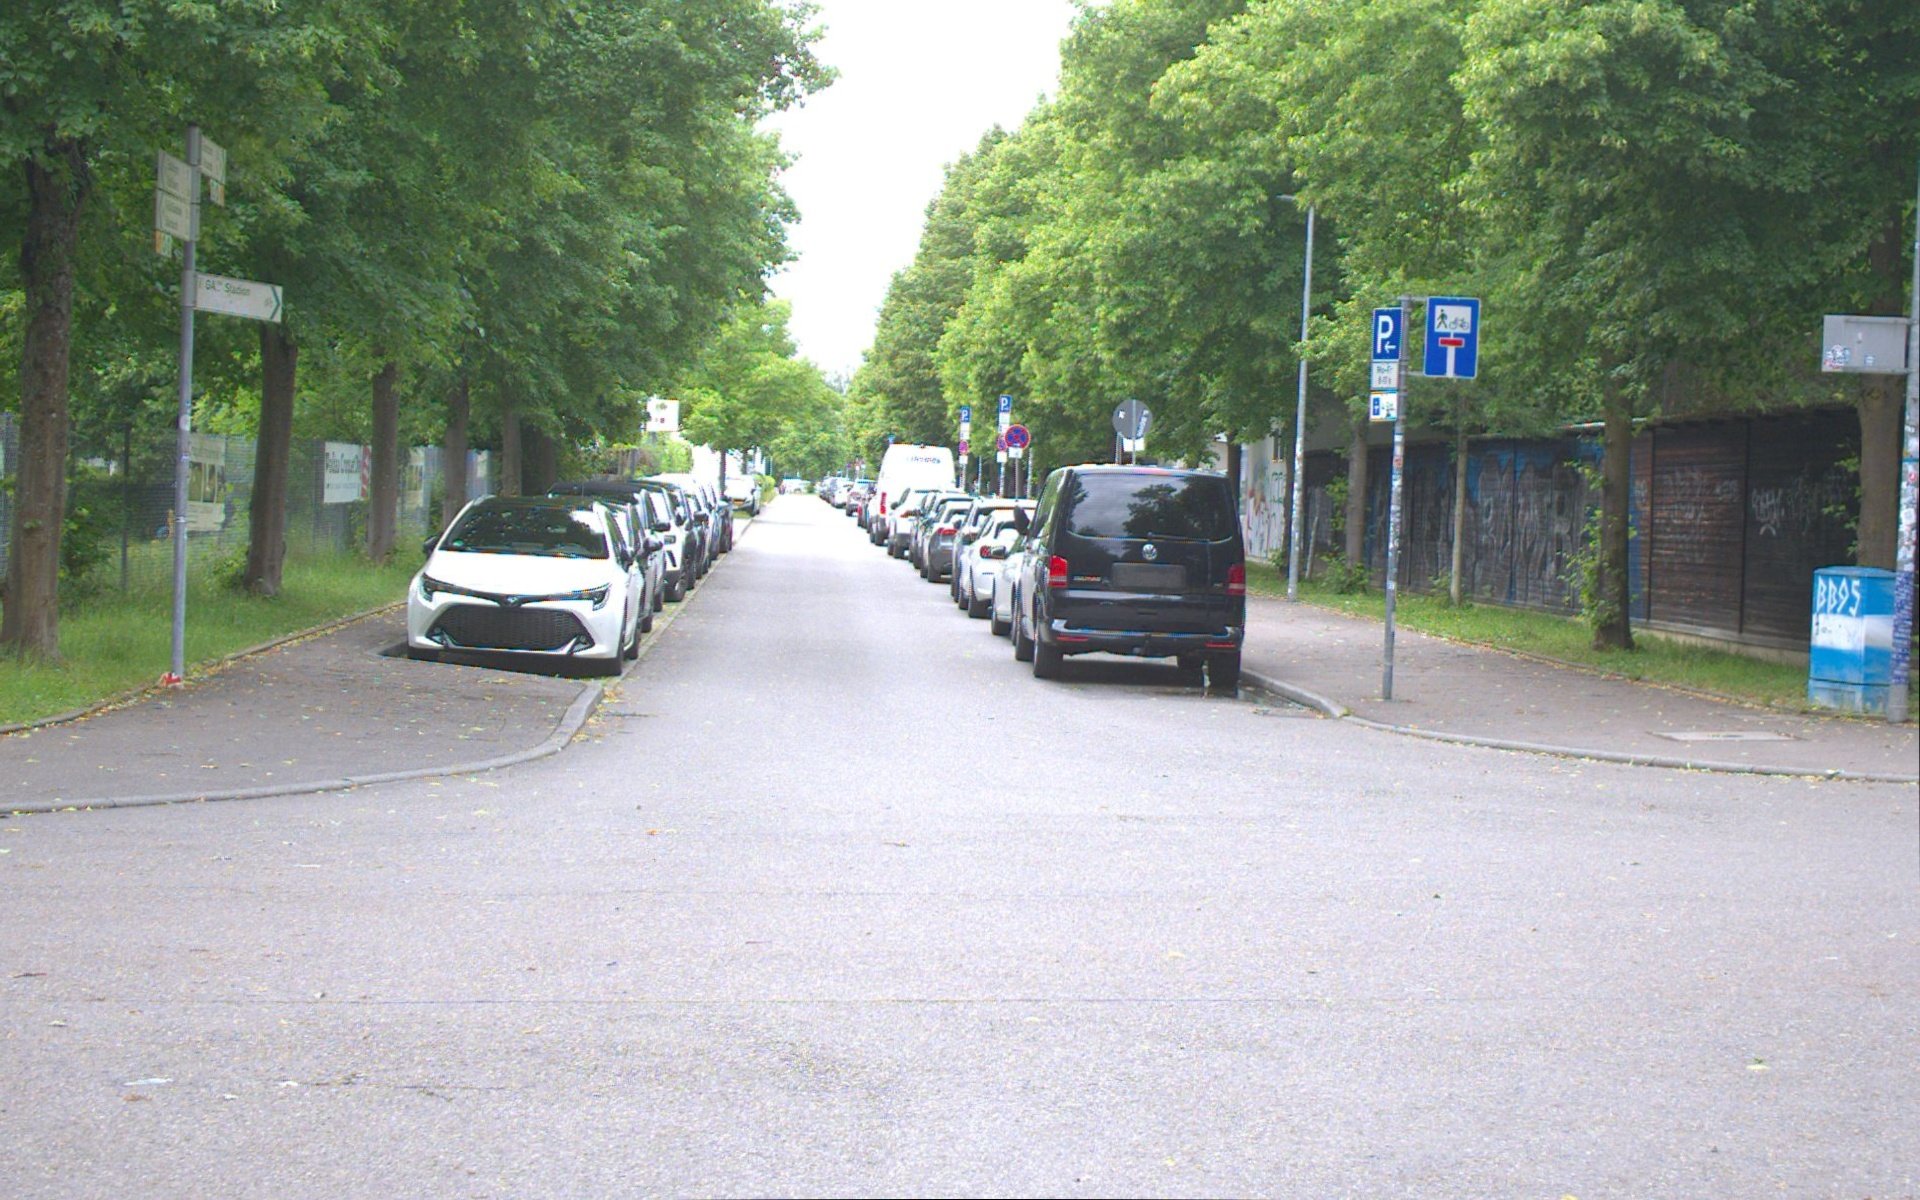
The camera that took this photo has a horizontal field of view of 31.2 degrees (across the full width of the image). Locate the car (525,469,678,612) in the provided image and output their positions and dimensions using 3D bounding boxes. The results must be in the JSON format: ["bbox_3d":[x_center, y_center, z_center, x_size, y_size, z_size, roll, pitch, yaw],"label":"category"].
[{"bbox_3d":[-4.444,-0.763,43.016,1.691,1.590,4.000,4,1,-4],"label":"car"}]

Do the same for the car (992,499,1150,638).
[{"bbox_3d":[1.220,-0.389,39.046,1.597,1.476,3.521,1,2,-1],"label":"car"}]

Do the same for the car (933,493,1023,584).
[{"bbox_3d":[0.289,-1.092,60.243,1.469,1.526,3.189,1,2,-1],"label":"car"}]

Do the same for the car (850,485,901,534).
[{"bbox_3d":[-3.673,-3.928,150.153,1.993,2.007,4.000,1,0,1],"label":"car"}]

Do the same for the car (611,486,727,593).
[{"bbox_3d":[-4.348,-0.921,51.585,1.593,1.452,3.194,4,1,-4],"label":"car"}]

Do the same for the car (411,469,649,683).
[{"bbox_3d":[-3.616,-0.248,29.501,1.764,1.590,4.217,4,1,-5],"label":"car"}]

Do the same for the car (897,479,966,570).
[{"bbox_3d":[-0.648,-1.695,76.490,1.469,1.961,3.189,1,1,-1],"label":"car"}]

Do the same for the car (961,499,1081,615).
[{"bbox_3d":[0.796,-0.597,46.153,1.469,1.476,3.189,1,2,-1],"label":"car"}]

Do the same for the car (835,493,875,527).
[{"bbox_3d":[-5.590,-4.780,183.247,1.898,1.700,4.064,1,0,1],"label":"car"}]

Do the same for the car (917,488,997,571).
[{"bbox_3d":[-0.076,-1.366,66.064,1.469,1.526,3.189,1,2,-1],"label":"car"}]

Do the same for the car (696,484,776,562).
[{"bbox_3d":[-4.654,-1.603,71.256,1.593,1.554,3.194,-1,2,-4],"label":"car"}]

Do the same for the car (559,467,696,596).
[{"bbox_3d":[-4.524,-0.955,47.220,1.691,1.590,4.000,4,1,-4],"label":"car"}]

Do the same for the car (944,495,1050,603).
[{"bbox_3d":[0.525,-0.781,51.409,1.469,1.526,3.189,1,2,-1],"label":"car"}]

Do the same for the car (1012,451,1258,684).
[{"bbox_3d":[1.567,-0.343,32.241,1.988,2.007,4.108,1,2,-1],"label":"car"}]

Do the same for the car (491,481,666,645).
[{"bbox_3d":[-3.755,-0.402,34.268,1.545,1.450,3.666,4,1,-5],"label":"car"}]

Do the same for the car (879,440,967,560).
[{"bbox_3d":[-0.993,-2.620,89.828,2.184,3.005,4.897,1,1,-1],"label":"car"}]
